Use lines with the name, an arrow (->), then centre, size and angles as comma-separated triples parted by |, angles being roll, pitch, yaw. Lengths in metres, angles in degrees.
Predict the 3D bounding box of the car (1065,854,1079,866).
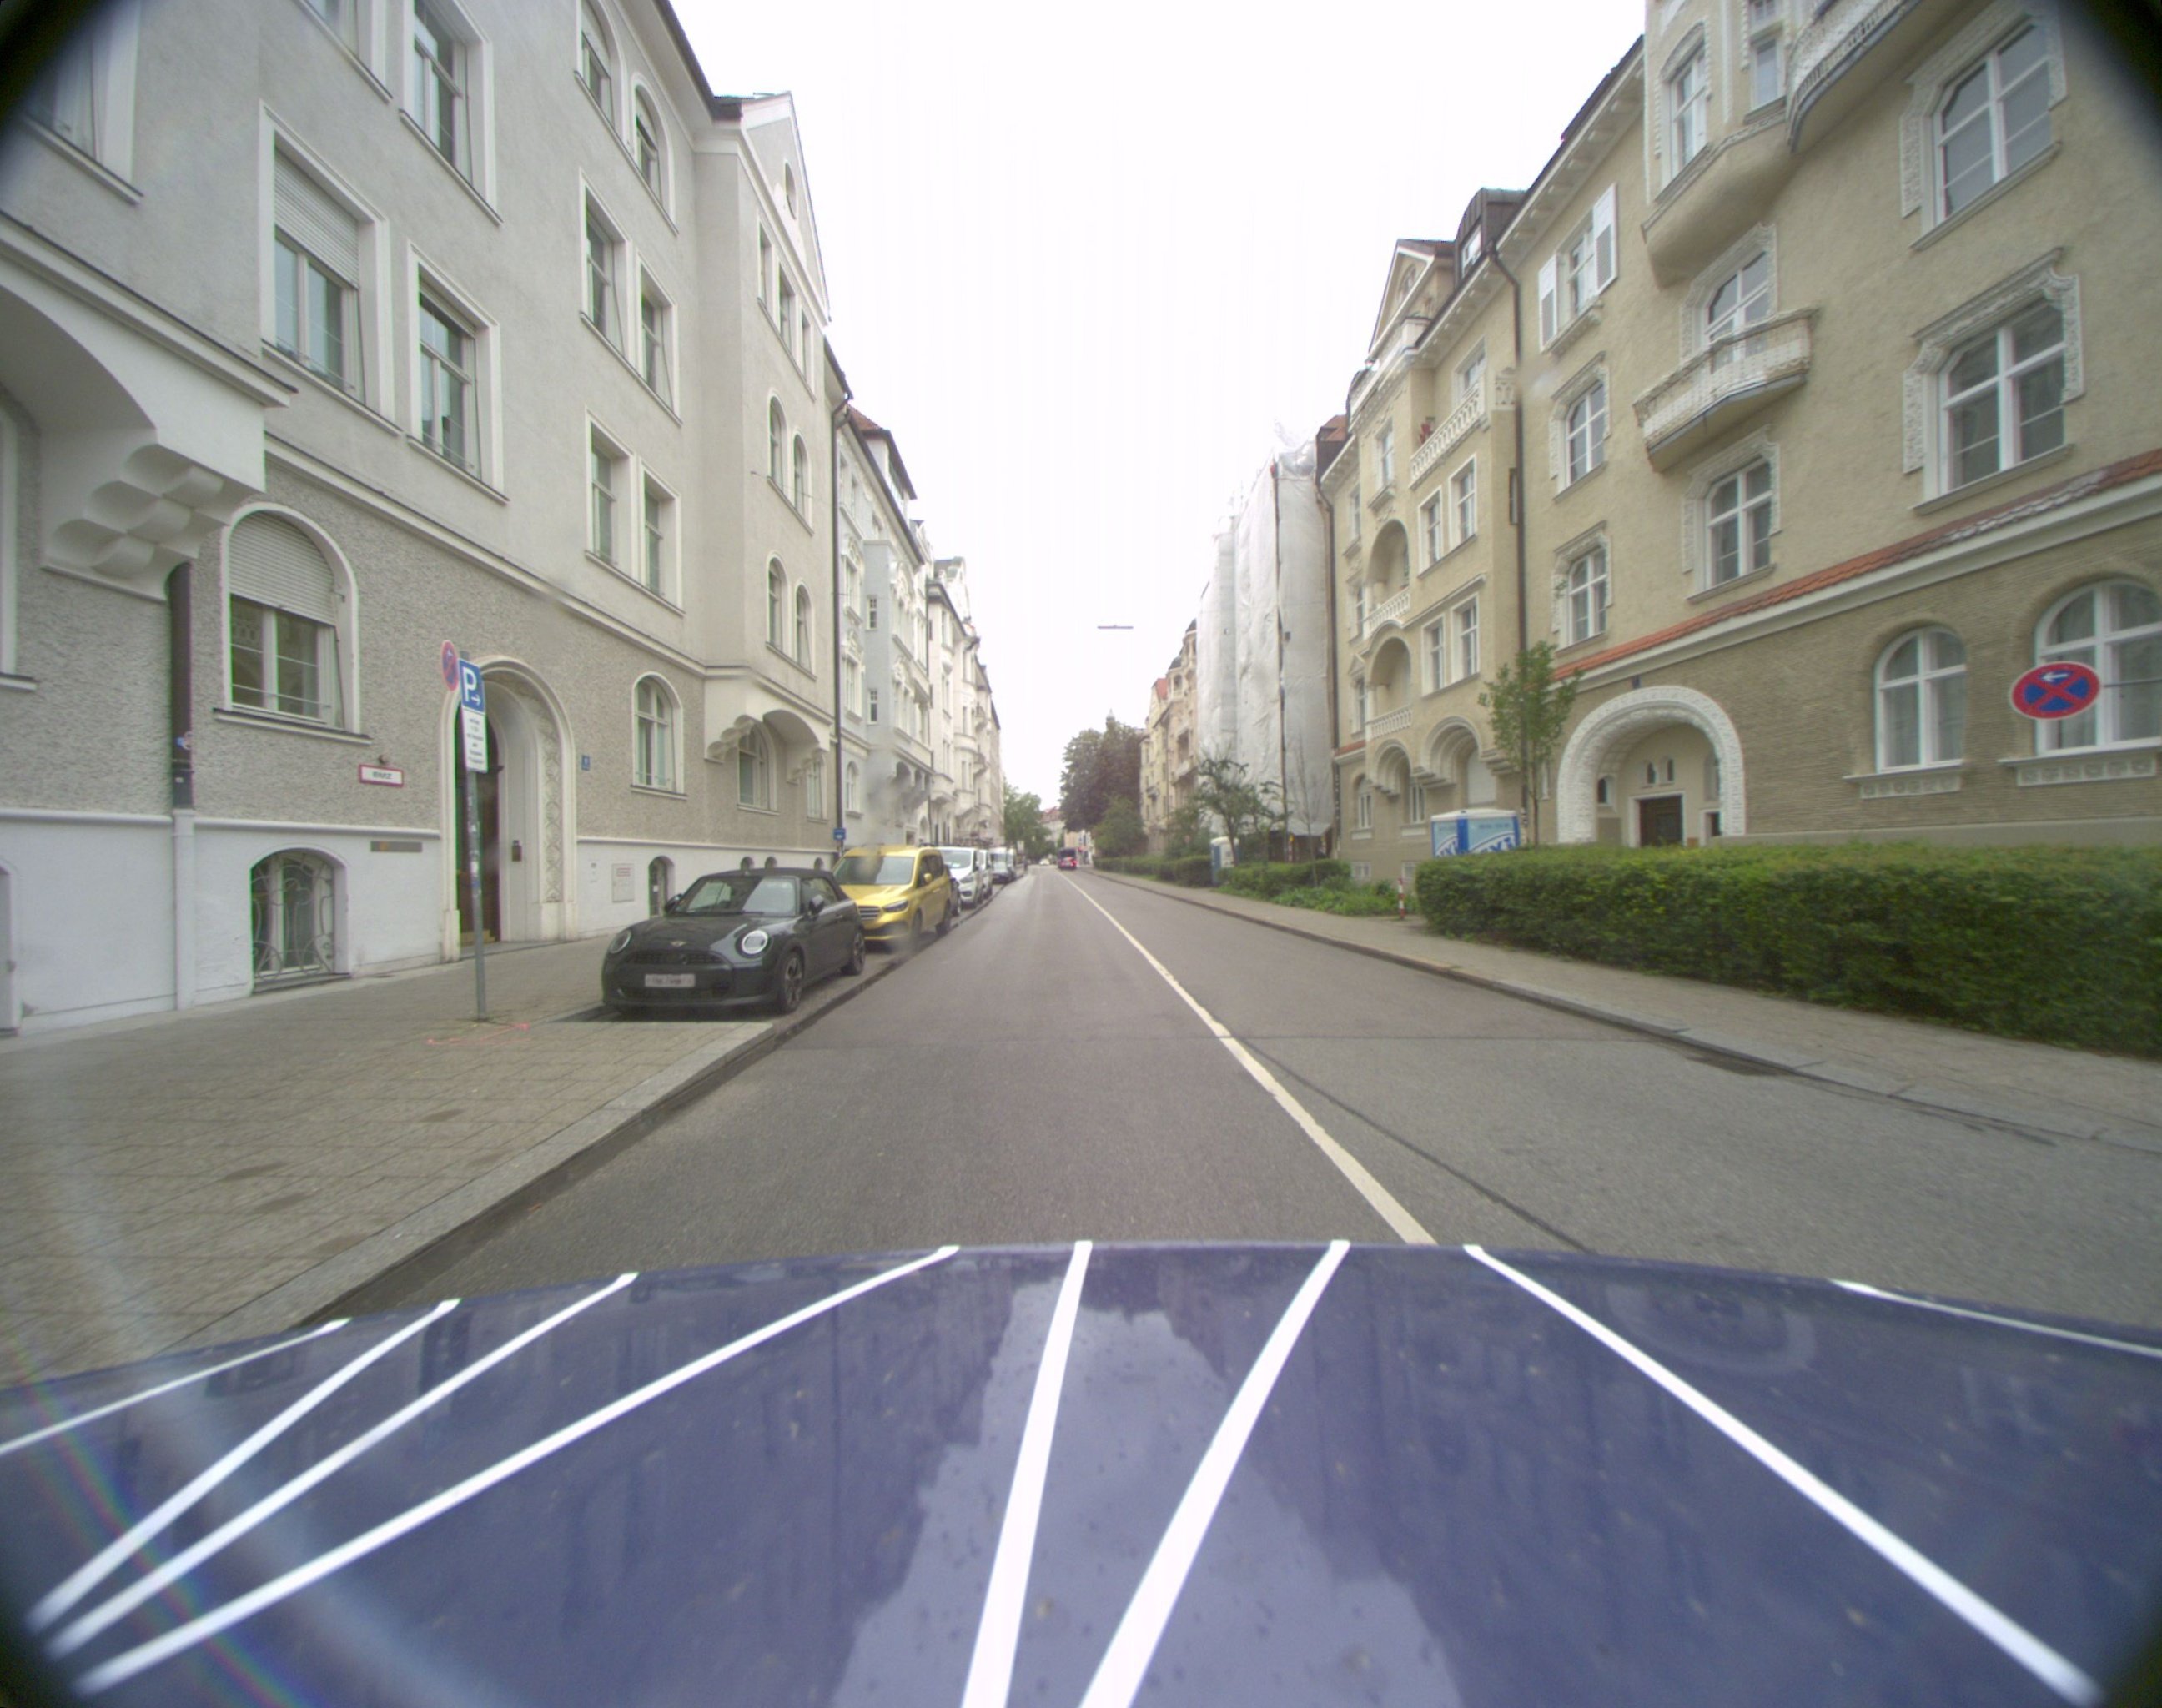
car -> -1.253, 0.870, 105.336 | 1.773, 1.635, 4.272 | 0, 0, -3

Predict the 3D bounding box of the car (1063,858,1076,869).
car -> -1.522, 1.244, 99.175 | 1.588, 1.470, 3.781 | 0, 0, -3

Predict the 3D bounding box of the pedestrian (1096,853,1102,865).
pedestrian -> 2.619, 0.733, 111.070 | 0.875, 1.735, 0.910 | -1, 1, -3

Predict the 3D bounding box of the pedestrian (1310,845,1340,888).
pedestrian -> 9.941, 0.511, 30.988 | 0.916, 1.741, 0.947 | 0, 0, -3

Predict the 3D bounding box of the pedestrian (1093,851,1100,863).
pedestrian -> 2.589, 0.522, 127.513 | 0.778, 2.002, 0.832 | 0, 1, 44

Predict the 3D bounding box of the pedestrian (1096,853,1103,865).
pedestrian -> 2.615, 0.748, 109.319 | 0.910, 1.735, 0.847 | -1, 1, -3

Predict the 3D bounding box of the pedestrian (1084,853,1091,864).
pedestrian -> 1.219, 0.852, 141.818 | 0.952, 2.002, 1.397 | -1, 0, 7

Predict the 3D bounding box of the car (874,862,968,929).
car -> -3.933, 0.977, 19.219 | 1.636, 1.475, 3.783 | 0, 0, -1

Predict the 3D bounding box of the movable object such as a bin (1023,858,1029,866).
movable object such as a bin -> -8.463, 1.167, 117.450 | 0.877, 1.243, 0.798 | 0, 0, -8

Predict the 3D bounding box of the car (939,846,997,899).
car -> -4.583, 0.722, 31.537 | 1.965, 2.002, 4.991 | 0, 0, -4

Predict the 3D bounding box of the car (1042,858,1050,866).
car -> -8.195, 1.838, 176.908 | 1.927, 1.608, 3.998 | -1, 0, -3

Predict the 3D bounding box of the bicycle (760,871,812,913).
bicycle -> -8.317, 1.037, 21.507 | 0.696, 1.087, 2.036 | 1, 0, -1

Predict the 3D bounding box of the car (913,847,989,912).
car -> -4.183, 0.758, 25.195 | 1.965, 1.926, 4.991 | 0, 0, -4

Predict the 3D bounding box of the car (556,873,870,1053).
car -> -3.720, 0.989, 8.520 | 1.668, 1.448, 3.896 | -1, 0, -1

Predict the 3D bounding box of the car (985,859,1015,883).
car -> -5.294, 1.093, 50.176 | 1.758, 1.426, 4.085 | 0, 0, -3

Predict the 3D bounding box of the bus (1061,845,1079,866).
bus -> -1.707, 0.180, 115.498 | 2.586, 3.082, 8.921 | 0, 0, -2

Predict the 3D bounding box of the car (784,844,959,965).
car -> -3.624, 0.785, 14.132 | 1.855, 1.842, 4.821 | -1, 0, 1

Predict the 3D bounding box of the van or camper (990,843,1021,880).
van or camper -> -5.507, 0.525, 56.126 | 1.959, 2.621, 5.457 | -1, 0, -2
